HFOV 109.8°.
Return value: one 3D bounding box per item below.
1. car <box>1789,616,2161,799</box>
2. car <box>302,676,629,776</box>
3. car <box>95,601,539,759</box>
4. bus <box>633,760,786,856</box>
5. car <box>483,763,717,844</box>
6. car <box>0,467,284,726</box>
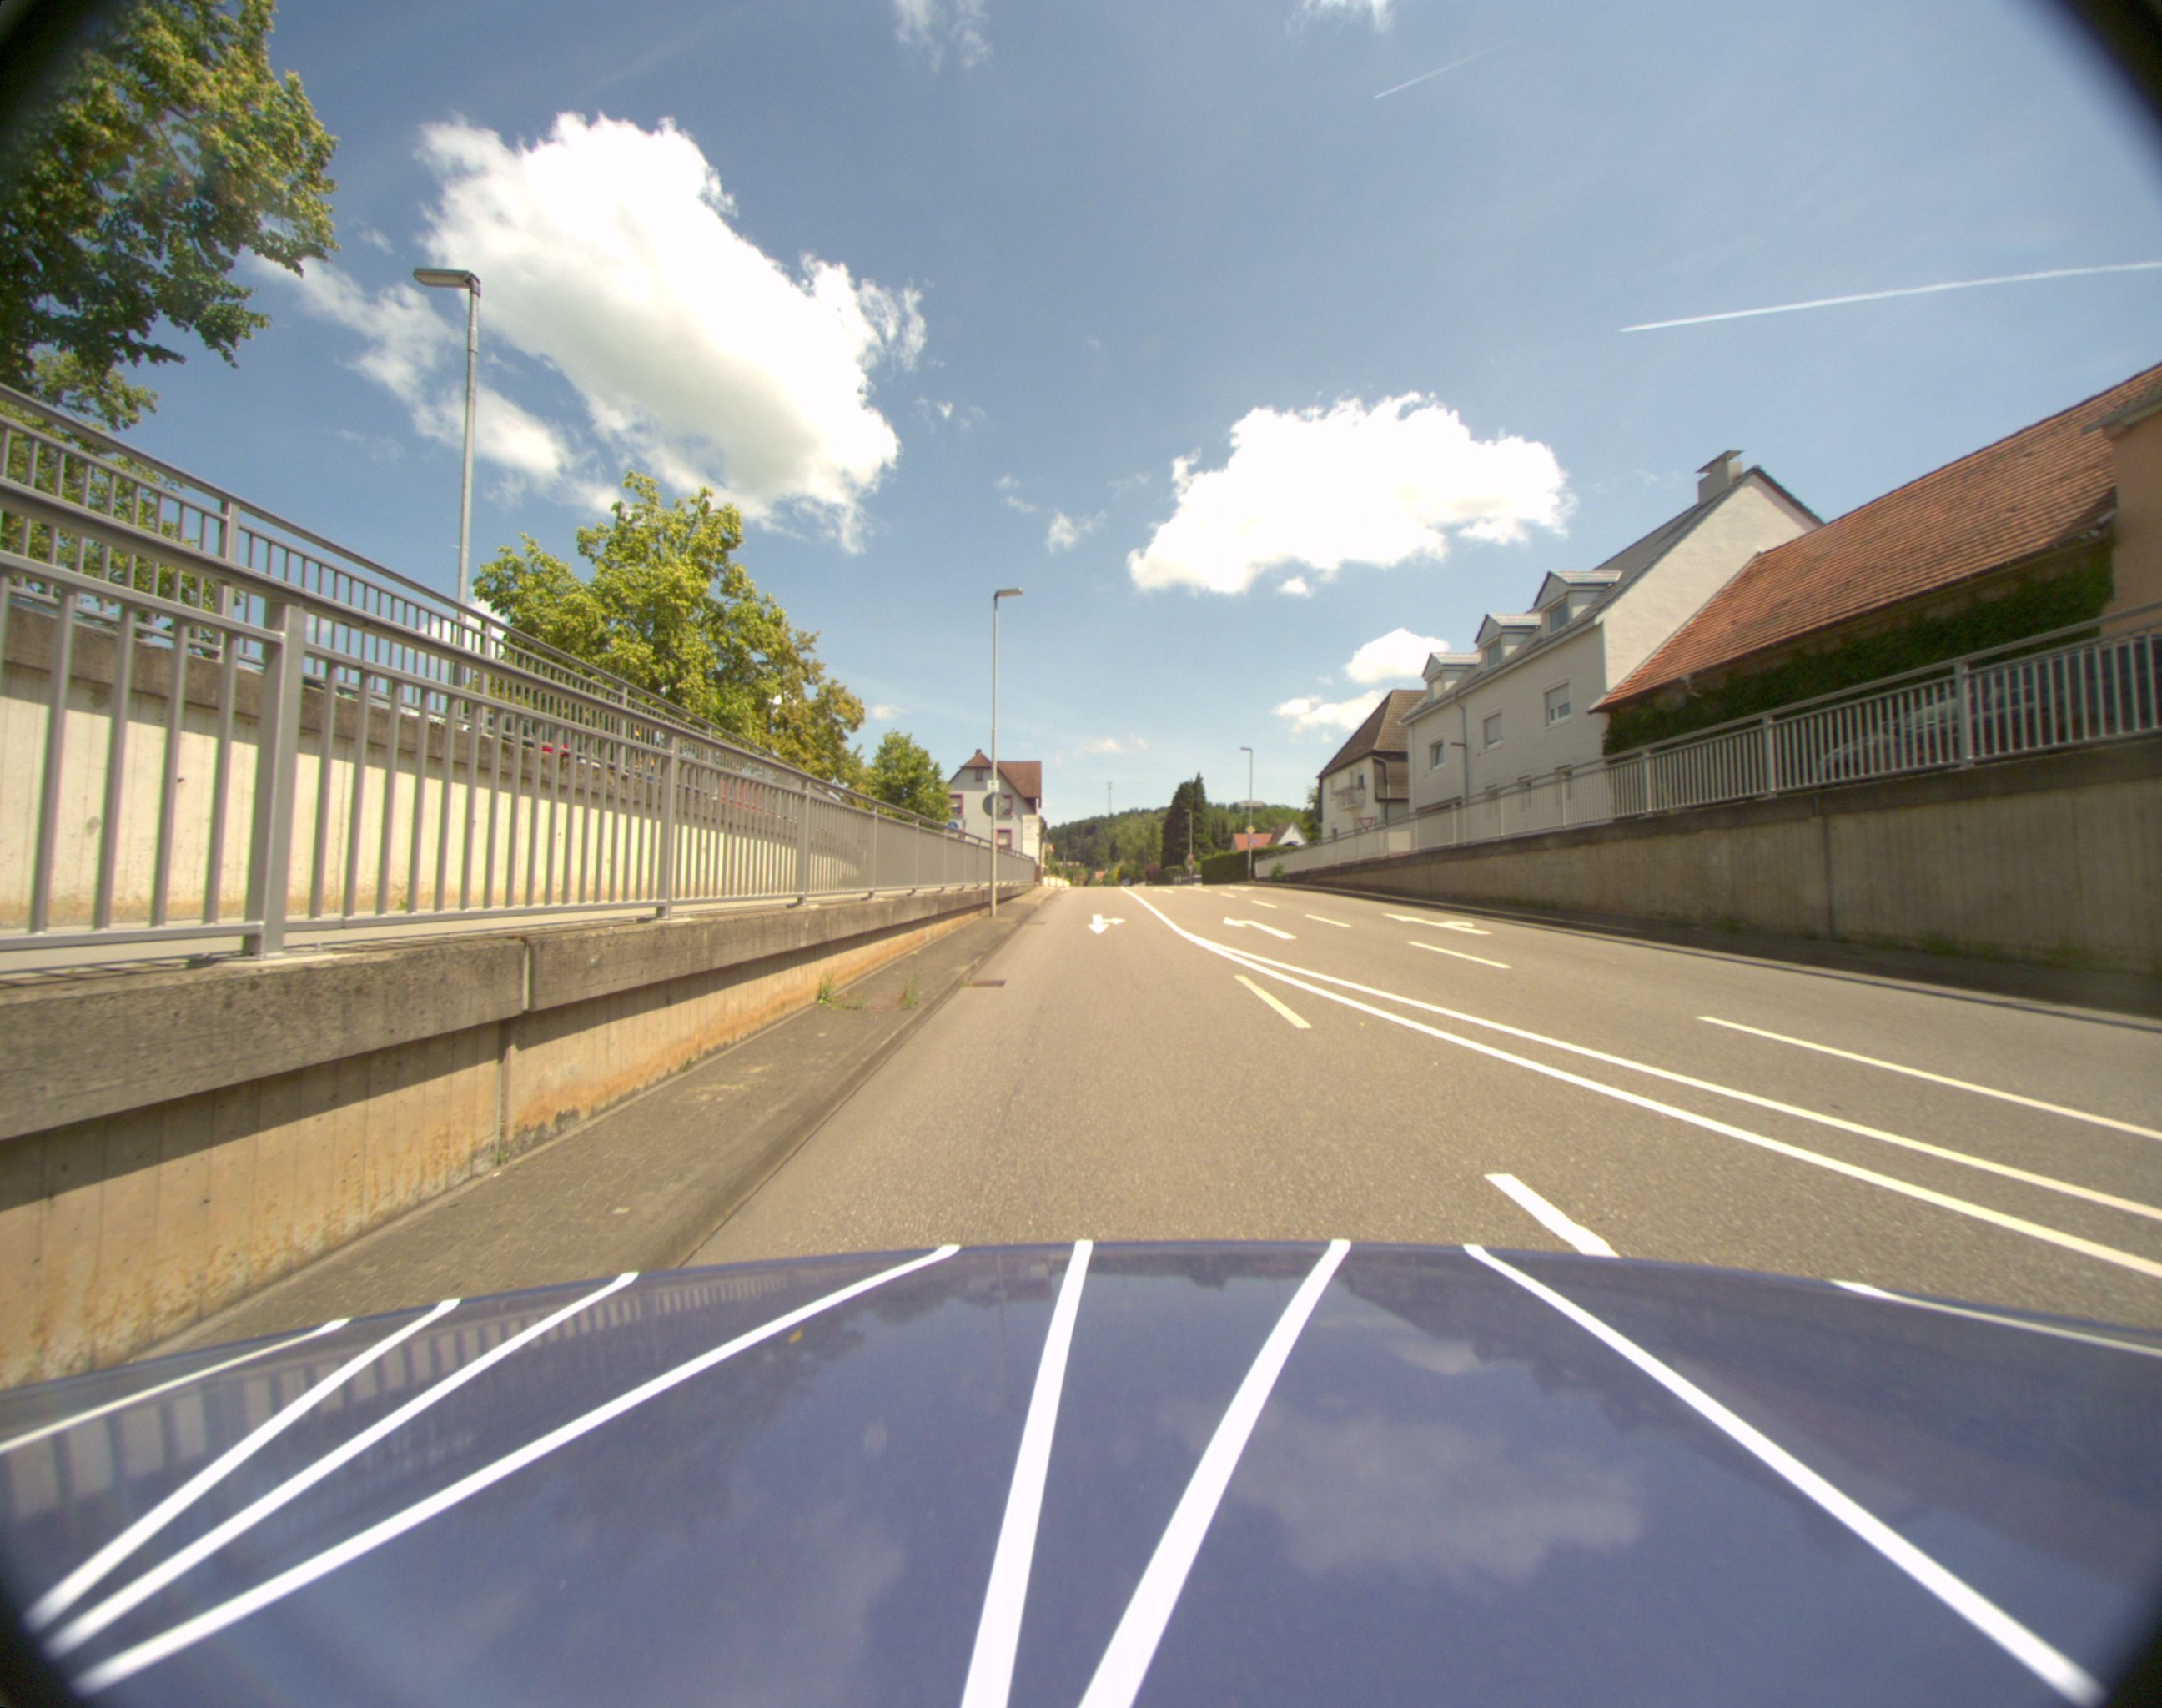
[{"bbox_3d":[11.686,-1.624,9.332,1.790,1.396,4.394,-1,-2,-1],"label":"car"},{"bbox_3d":[-10.058,-2.075,12.636,3.996,1.299,1.773,1,-1,1],"label":"car"},{"bbox_3d":[-9.455,-2.106,9.629,3.996,1.419,1.726,-1,-3,3],"label":"car"},{"bbox_3d":[-11.562,-1.292,24.220,2.194,2.351,5.367,1,-4,0],"label":"bus"},{"bbox_3d":[-10.687,-1.106,17.177,4.000,1.620,1.862,-2,0,-8],"label":"car"},{"bbox_3d":[-9.828,-2.070,6.651,3.996,1.546,1.725,-1,0,3],"label":"car"}]
